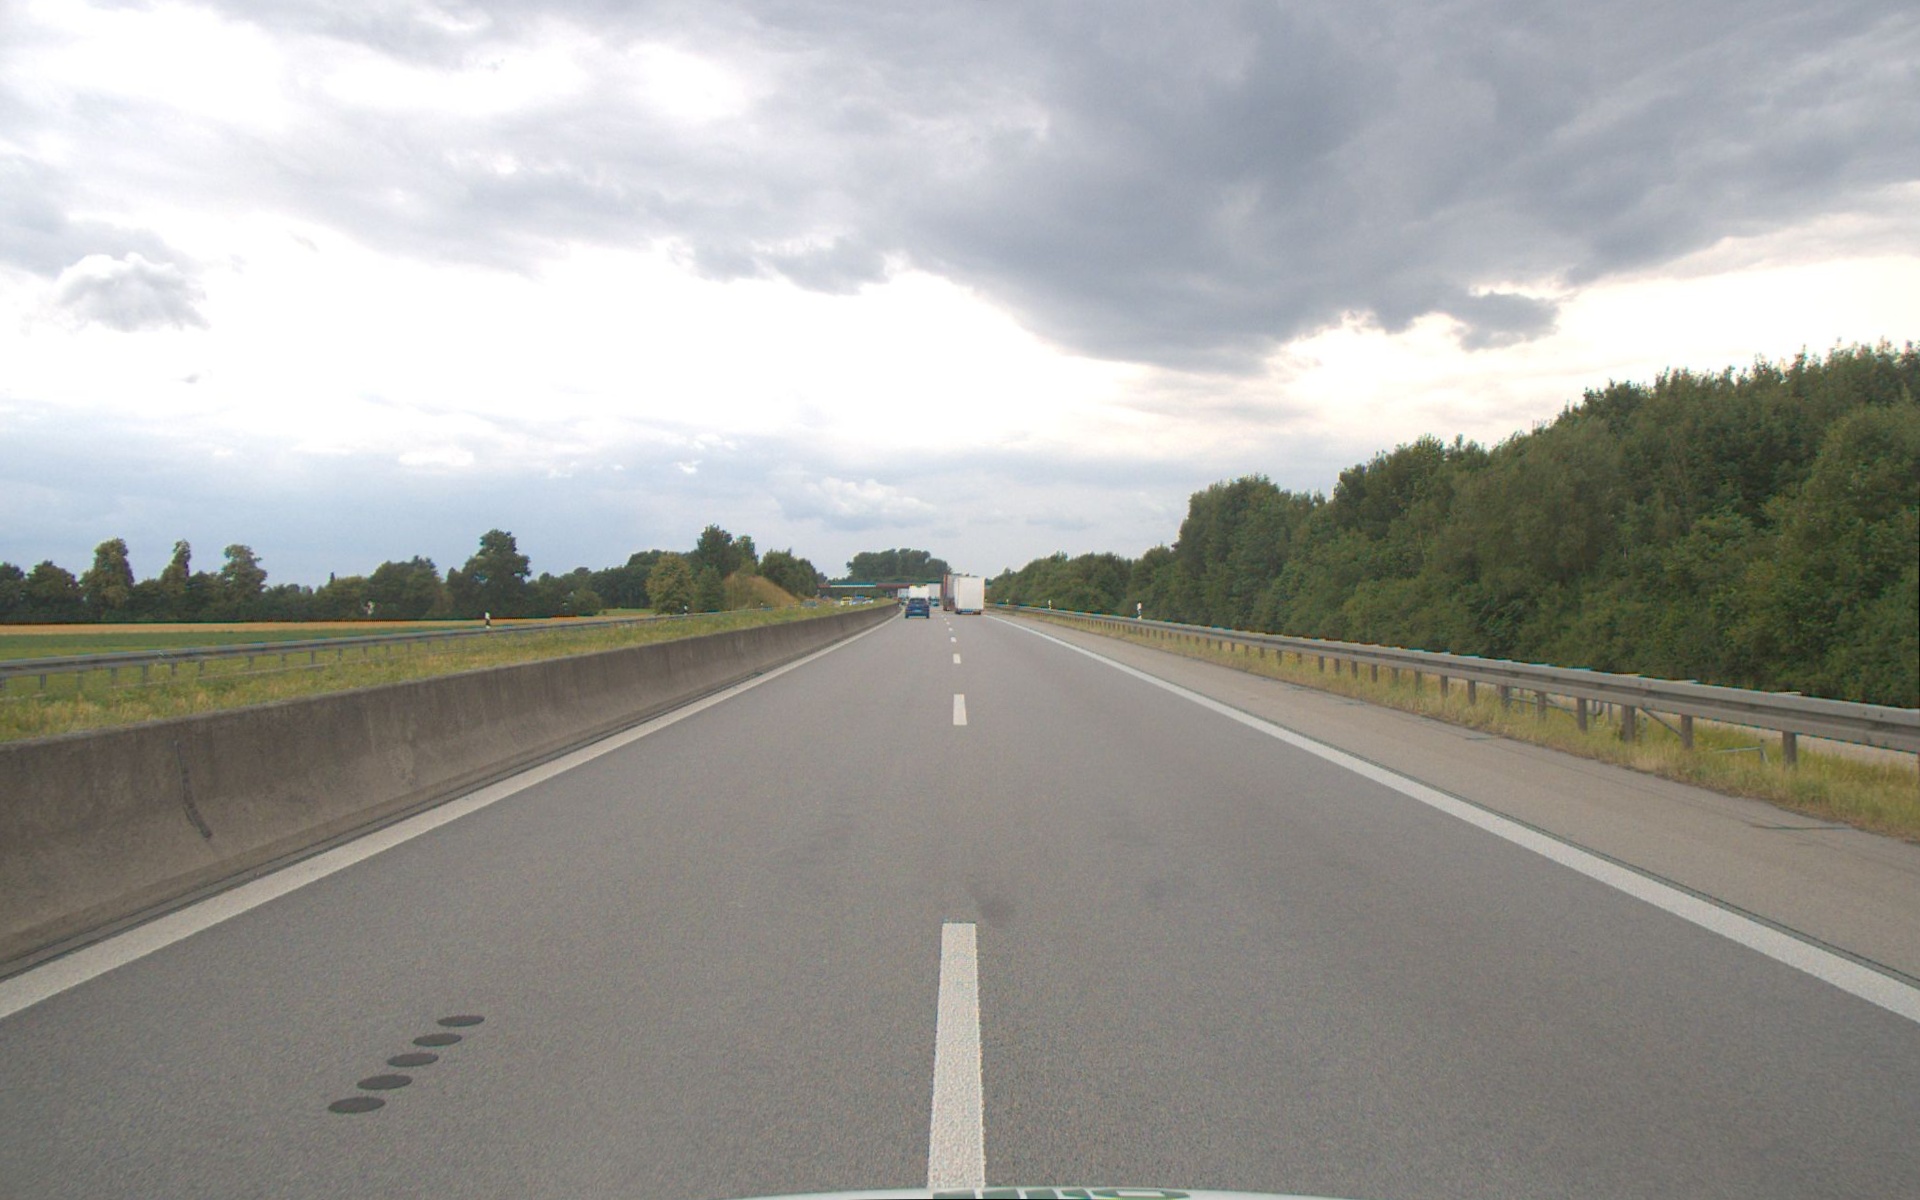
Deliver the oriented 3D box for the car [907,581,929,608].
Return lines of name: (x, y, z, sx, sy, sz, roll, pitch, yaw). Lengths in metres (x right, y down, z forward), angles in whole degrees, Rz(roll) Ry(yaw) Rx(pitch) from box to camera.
car: (-3.982, -0.484, 157.883, 2.087, 2.526, 5.838, 0, 0, -1)

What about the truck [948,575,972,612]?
truck: (0.044, -0.768, 186.295, 2.618, 4.116, 5.512, -1, 0, 0)

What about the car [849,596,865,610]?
car: (-13.171, 0.421, 212.056, 1.804, 1.724, 4.356, -2, 0, -2)

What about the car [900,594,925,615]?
car: (-3.328, 0.335, 115.497, 1.630, 1.432, 3.646, 0, 0, -3)

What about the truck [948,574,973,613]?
truck: (0.049, -0.734, 180.842, 2.618, 4.116, 11.107, -1, 0, 0)

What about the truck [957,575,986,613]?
truck: (0.965, -0.481, 144.008, 2.366, 3.279, 7.142, 0, 0, 0)

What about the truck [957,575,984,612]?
truck: (0.927, -0.536, 151.192, 2.380, 3.300, 7.246, 0, 0, 0)

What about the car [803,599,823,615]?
car: (-14.806, 0.680, 166.826, 1.711, 1.513, 4.528, -2, 0, -1)
